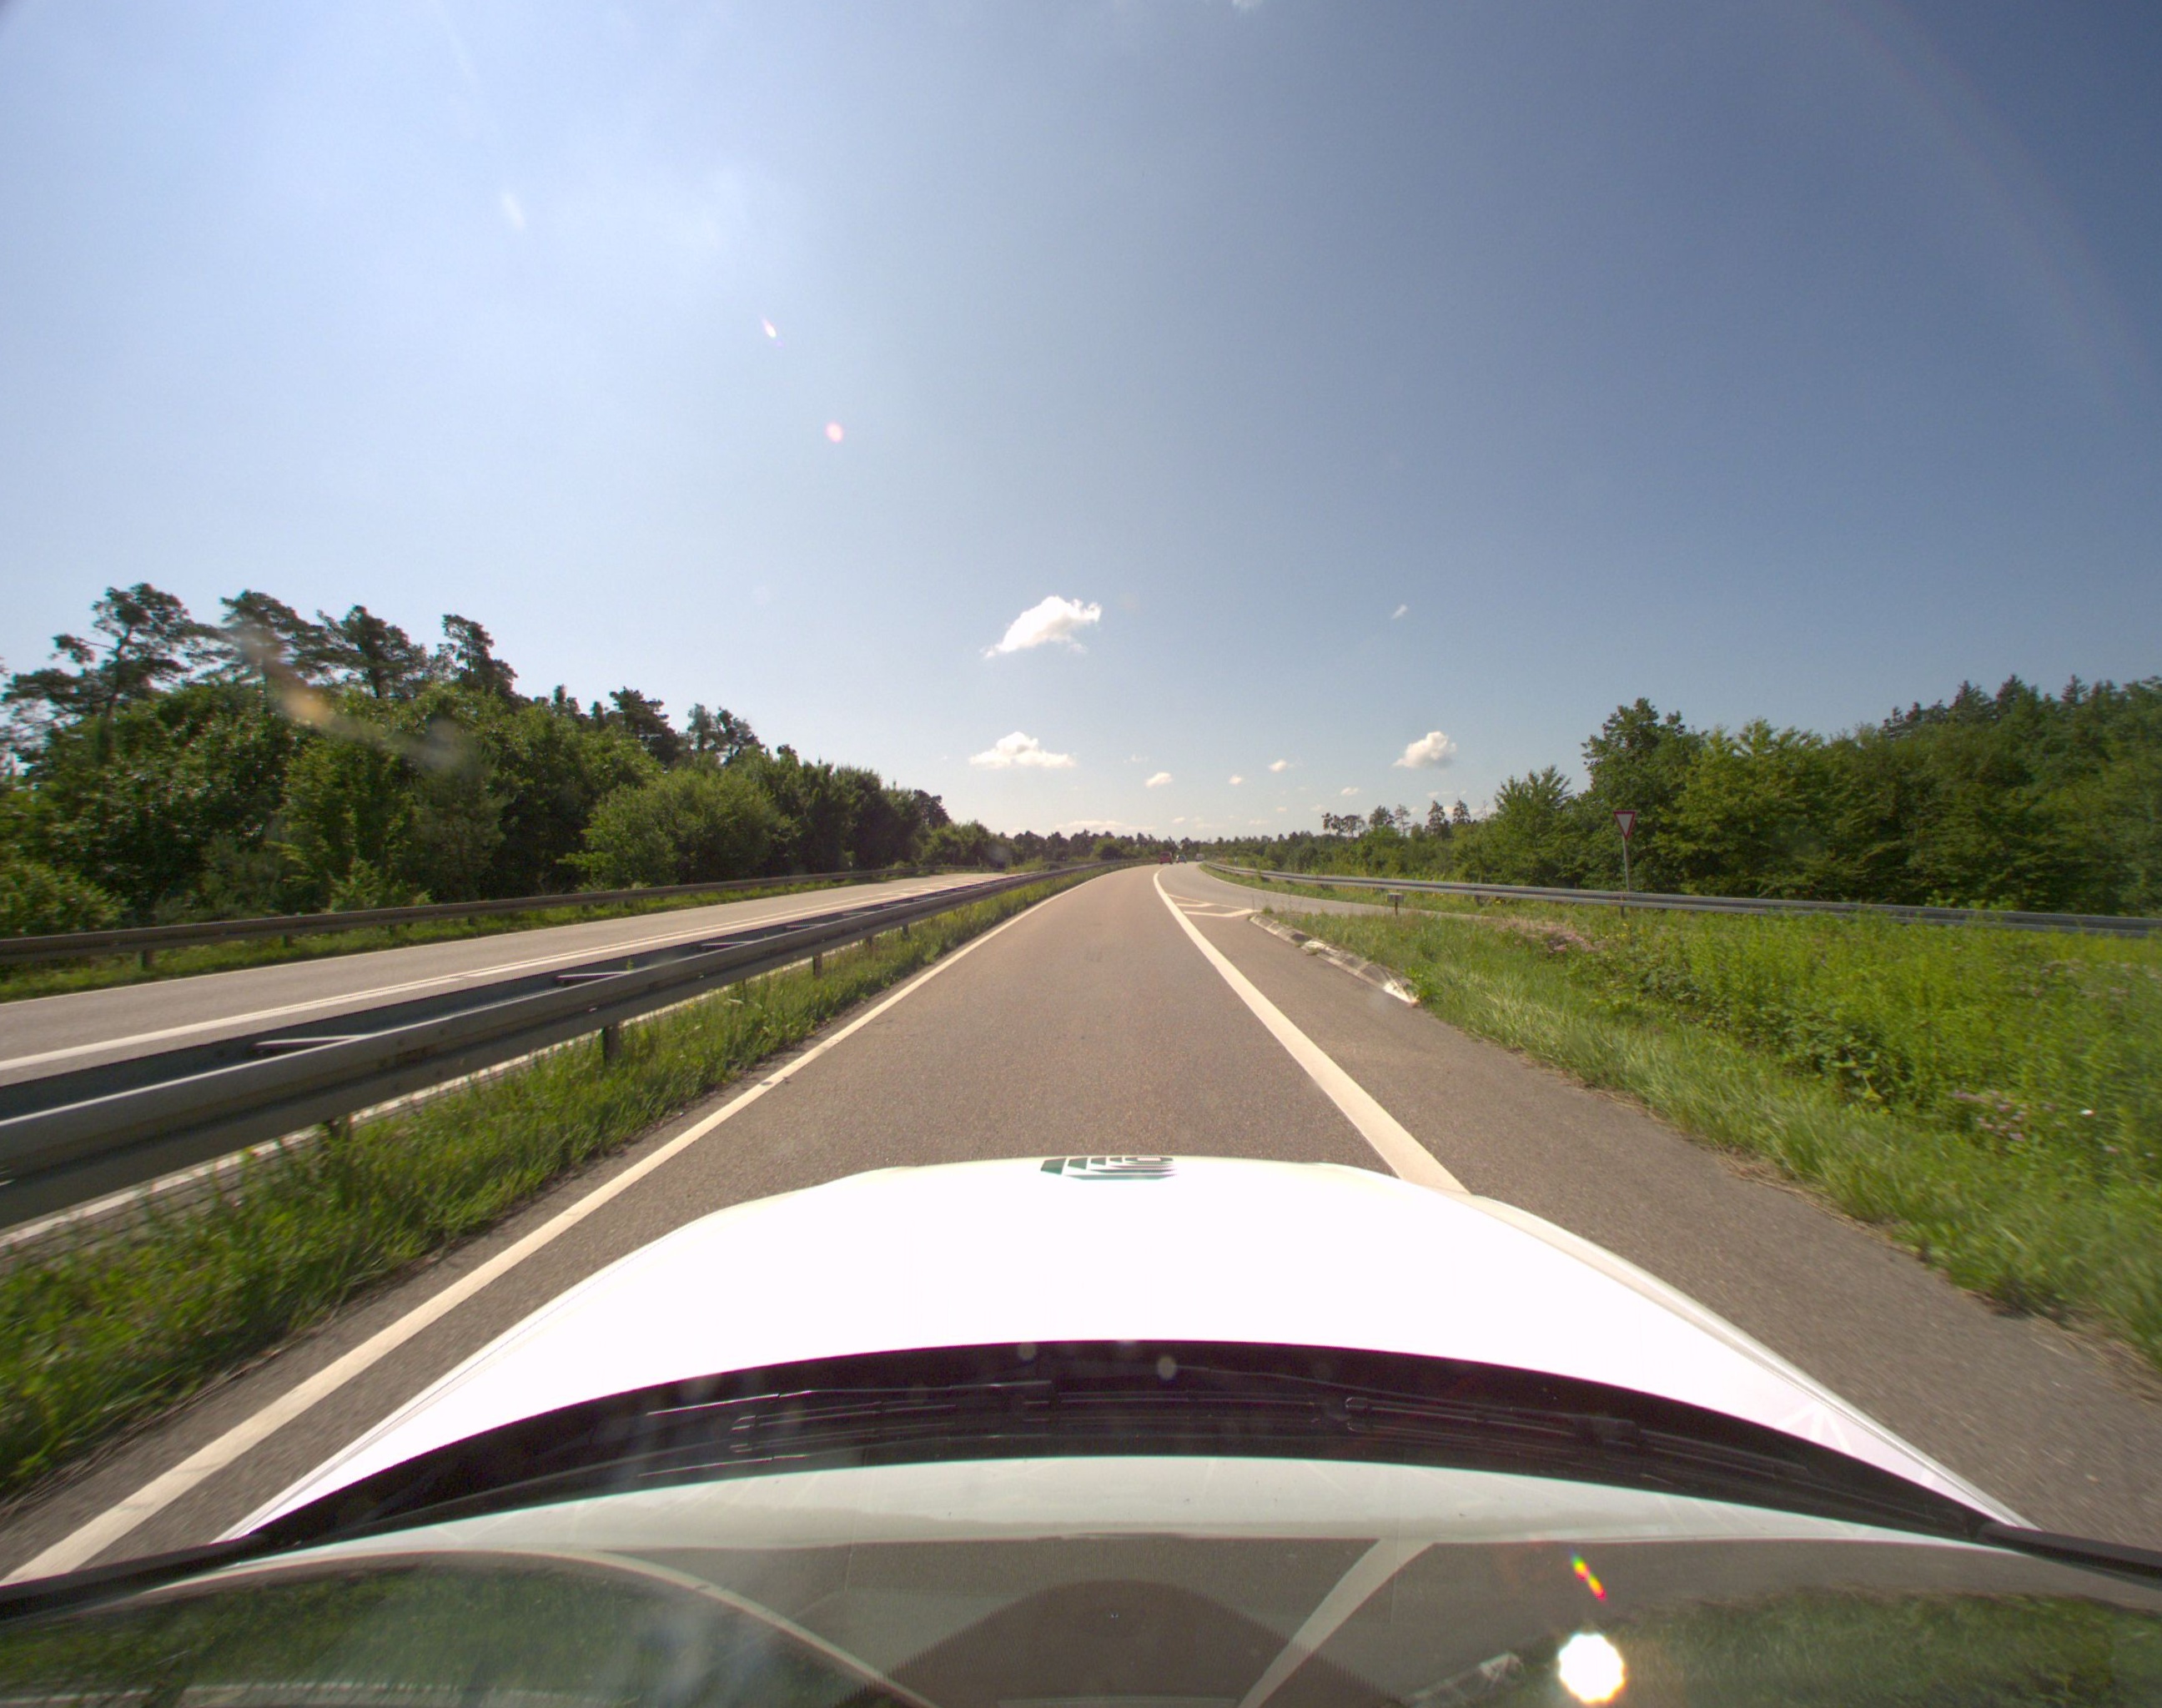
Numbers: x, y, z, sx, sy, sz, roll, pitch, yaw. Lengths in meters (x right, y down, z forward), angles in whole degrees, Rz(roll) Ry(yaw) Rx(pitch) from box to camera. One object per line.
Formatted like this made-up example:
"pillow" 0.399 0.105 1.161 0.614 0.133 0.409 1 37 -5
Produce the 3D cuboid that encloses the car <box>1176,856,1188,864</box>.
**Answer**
"car" 18.837 1.070 152.199 1.995 1.494 4.250 0 -1 10

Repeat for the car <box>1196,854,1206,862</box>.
"car" 29.966 1.048 202.719 2.170 1.955 5.821 -1 -1 11

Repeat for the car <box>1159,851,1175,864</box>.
"car" 13.753 0.628 130.177 2.065 1.993 5.125 -1 -1 10
